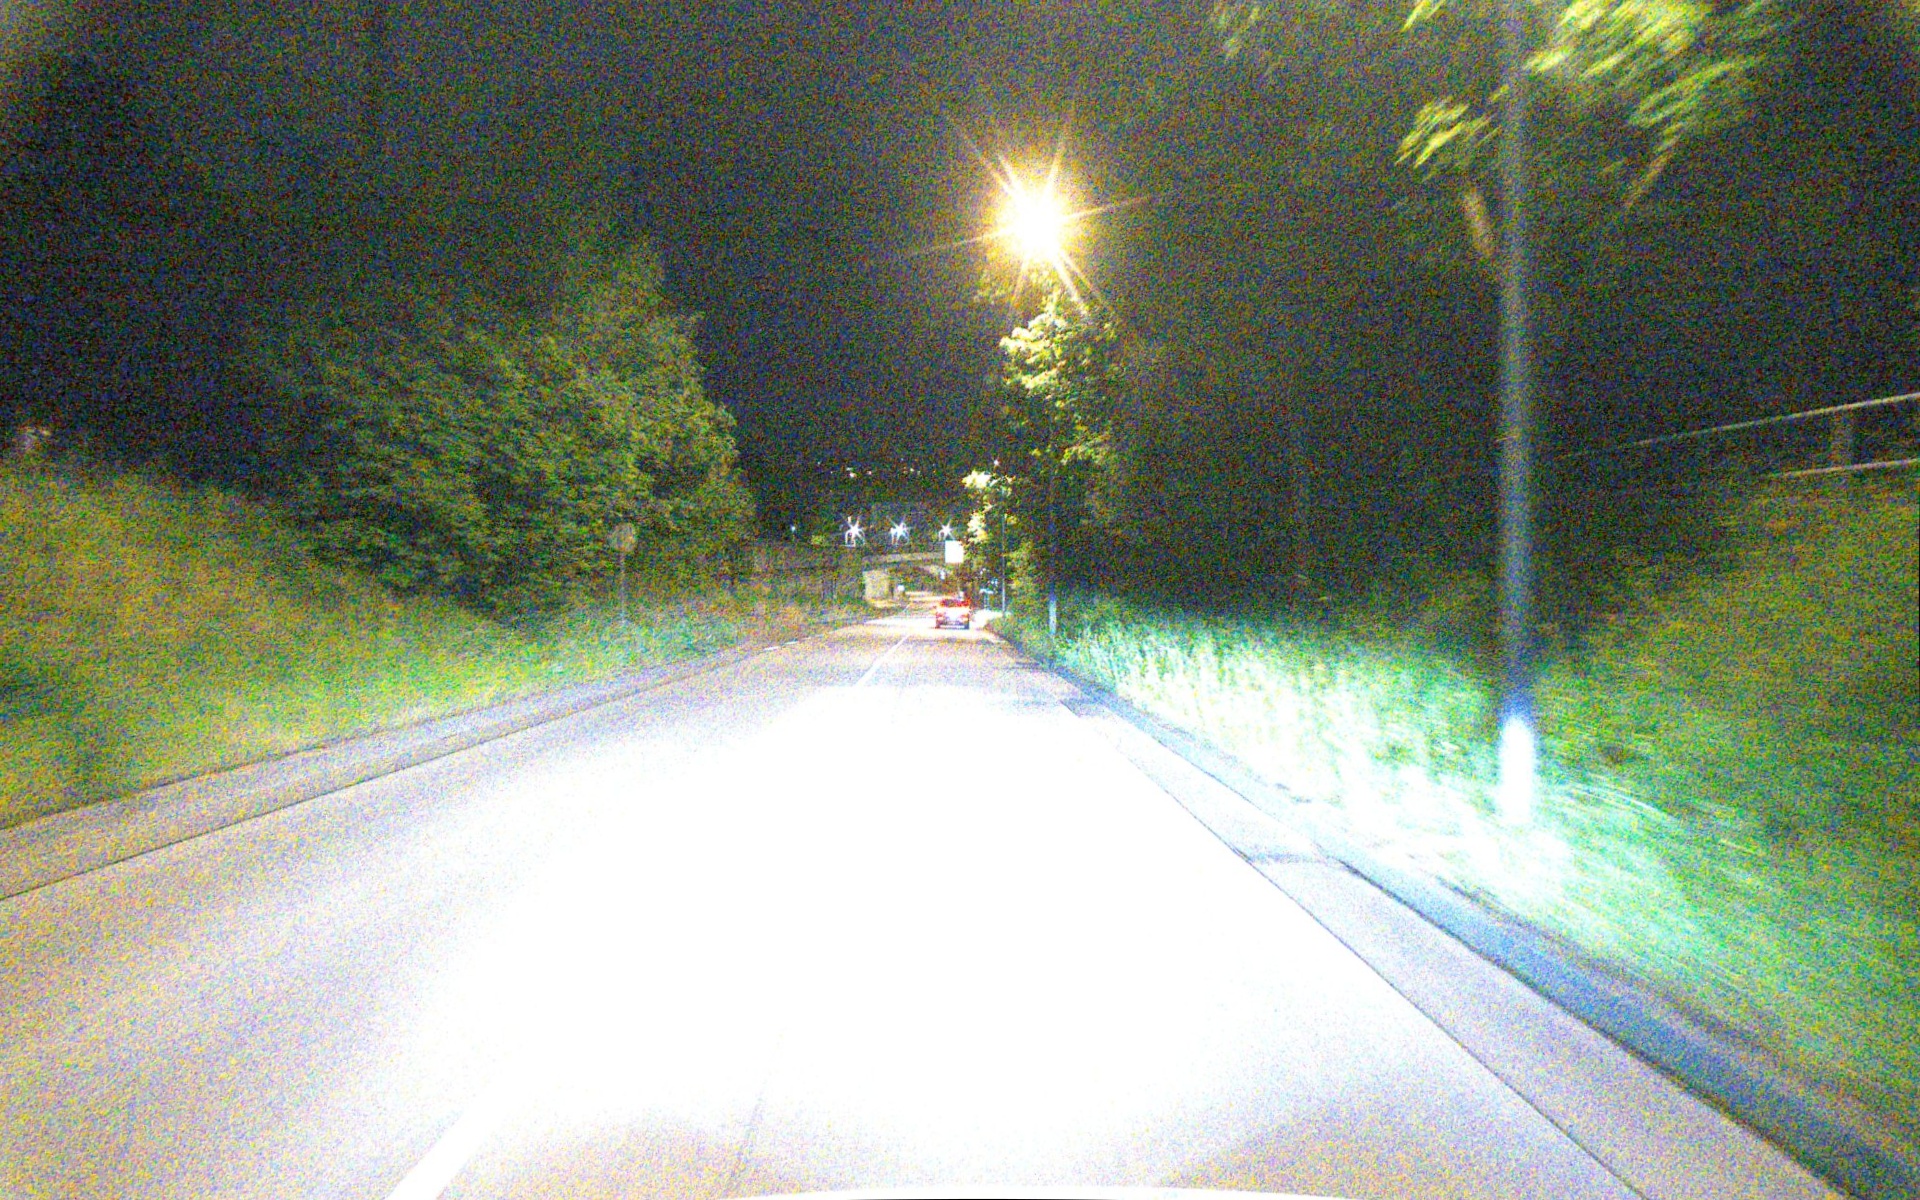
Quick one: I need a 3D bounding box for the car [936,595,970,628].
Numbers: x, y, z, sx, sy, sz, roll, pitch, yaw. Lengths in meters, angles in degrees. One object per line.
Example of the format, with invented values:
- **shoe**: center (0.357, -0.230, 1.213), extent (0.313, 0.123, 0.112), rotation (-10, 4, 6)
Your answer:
- **car**: center (-0.367, 0.595, 87.534), extent (1.727, 1.670, 3.723), rotation (1, 1, 0)
